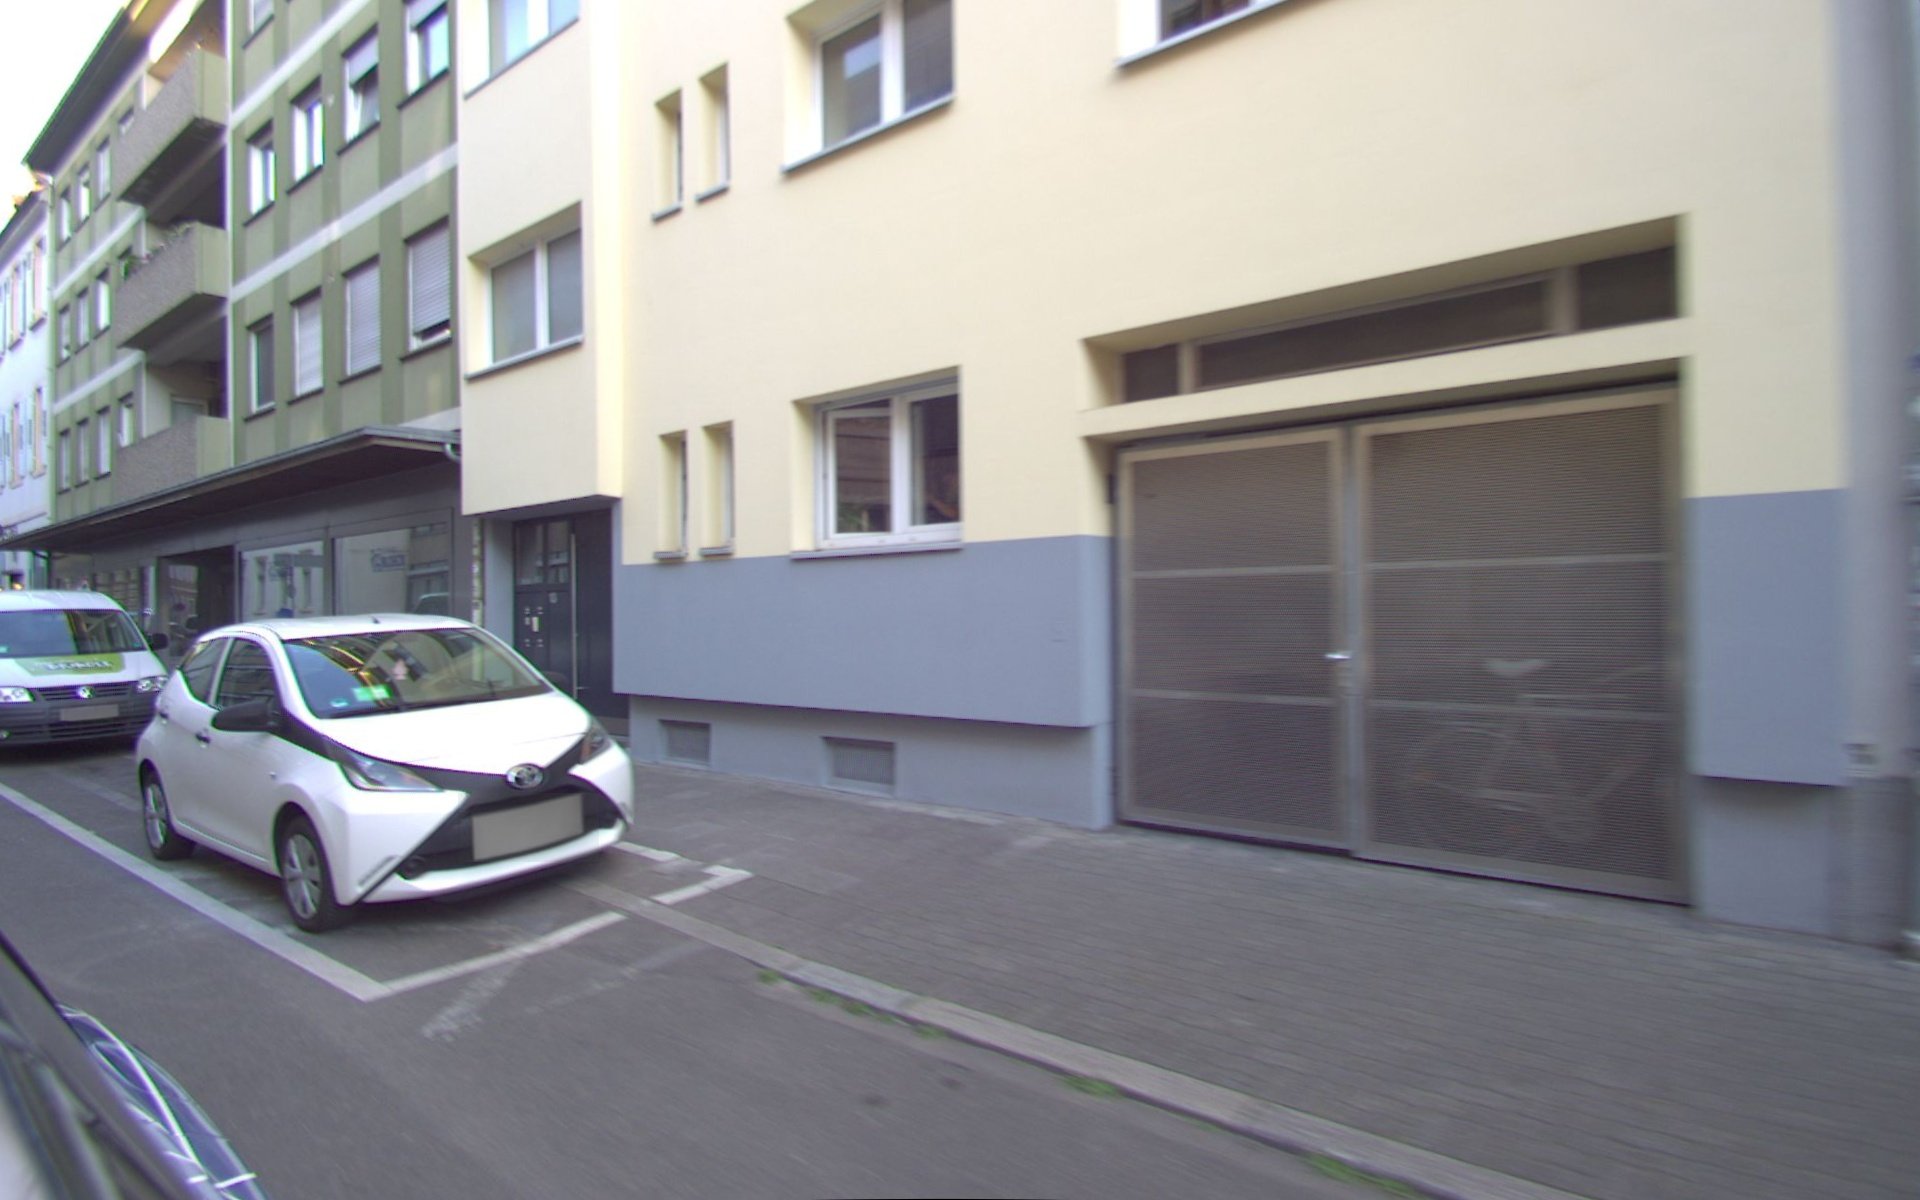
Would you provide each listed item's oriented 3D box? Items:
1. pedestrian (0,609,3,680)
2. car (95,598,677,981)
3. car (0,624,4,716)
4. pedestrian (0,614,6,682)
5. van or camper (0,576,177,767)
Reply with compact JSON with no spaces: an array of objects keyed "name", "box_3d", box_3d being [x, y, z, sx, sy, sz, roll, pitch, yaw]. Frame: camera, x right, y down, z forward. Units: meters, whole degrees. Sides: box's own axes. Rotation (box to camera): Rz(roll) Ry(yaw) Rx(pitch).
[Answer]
[{"name":"pedestrian","box_3d":[-24.190,1.107,25.248,0.469,1.763,0.402,-1,-1,40]},{"name":"car","box_3d":[-3.418,0.795,5.818,3.516,1.459,1.646,-1,3,38]},{"name":"car","box_3d":[-16.874,1.123,16.222,3.974,1.426,1.609,-1,0,37]},{"name":"pedestrian","box_3d":[-25.058,1.238,26.256,0.469,1.763,0.402,-1,-1,40]},{"name":"van or camper","box_3d":[-10.623,0.737,11.593,4.174,1.862,1.754,-1,-1,40]}]
